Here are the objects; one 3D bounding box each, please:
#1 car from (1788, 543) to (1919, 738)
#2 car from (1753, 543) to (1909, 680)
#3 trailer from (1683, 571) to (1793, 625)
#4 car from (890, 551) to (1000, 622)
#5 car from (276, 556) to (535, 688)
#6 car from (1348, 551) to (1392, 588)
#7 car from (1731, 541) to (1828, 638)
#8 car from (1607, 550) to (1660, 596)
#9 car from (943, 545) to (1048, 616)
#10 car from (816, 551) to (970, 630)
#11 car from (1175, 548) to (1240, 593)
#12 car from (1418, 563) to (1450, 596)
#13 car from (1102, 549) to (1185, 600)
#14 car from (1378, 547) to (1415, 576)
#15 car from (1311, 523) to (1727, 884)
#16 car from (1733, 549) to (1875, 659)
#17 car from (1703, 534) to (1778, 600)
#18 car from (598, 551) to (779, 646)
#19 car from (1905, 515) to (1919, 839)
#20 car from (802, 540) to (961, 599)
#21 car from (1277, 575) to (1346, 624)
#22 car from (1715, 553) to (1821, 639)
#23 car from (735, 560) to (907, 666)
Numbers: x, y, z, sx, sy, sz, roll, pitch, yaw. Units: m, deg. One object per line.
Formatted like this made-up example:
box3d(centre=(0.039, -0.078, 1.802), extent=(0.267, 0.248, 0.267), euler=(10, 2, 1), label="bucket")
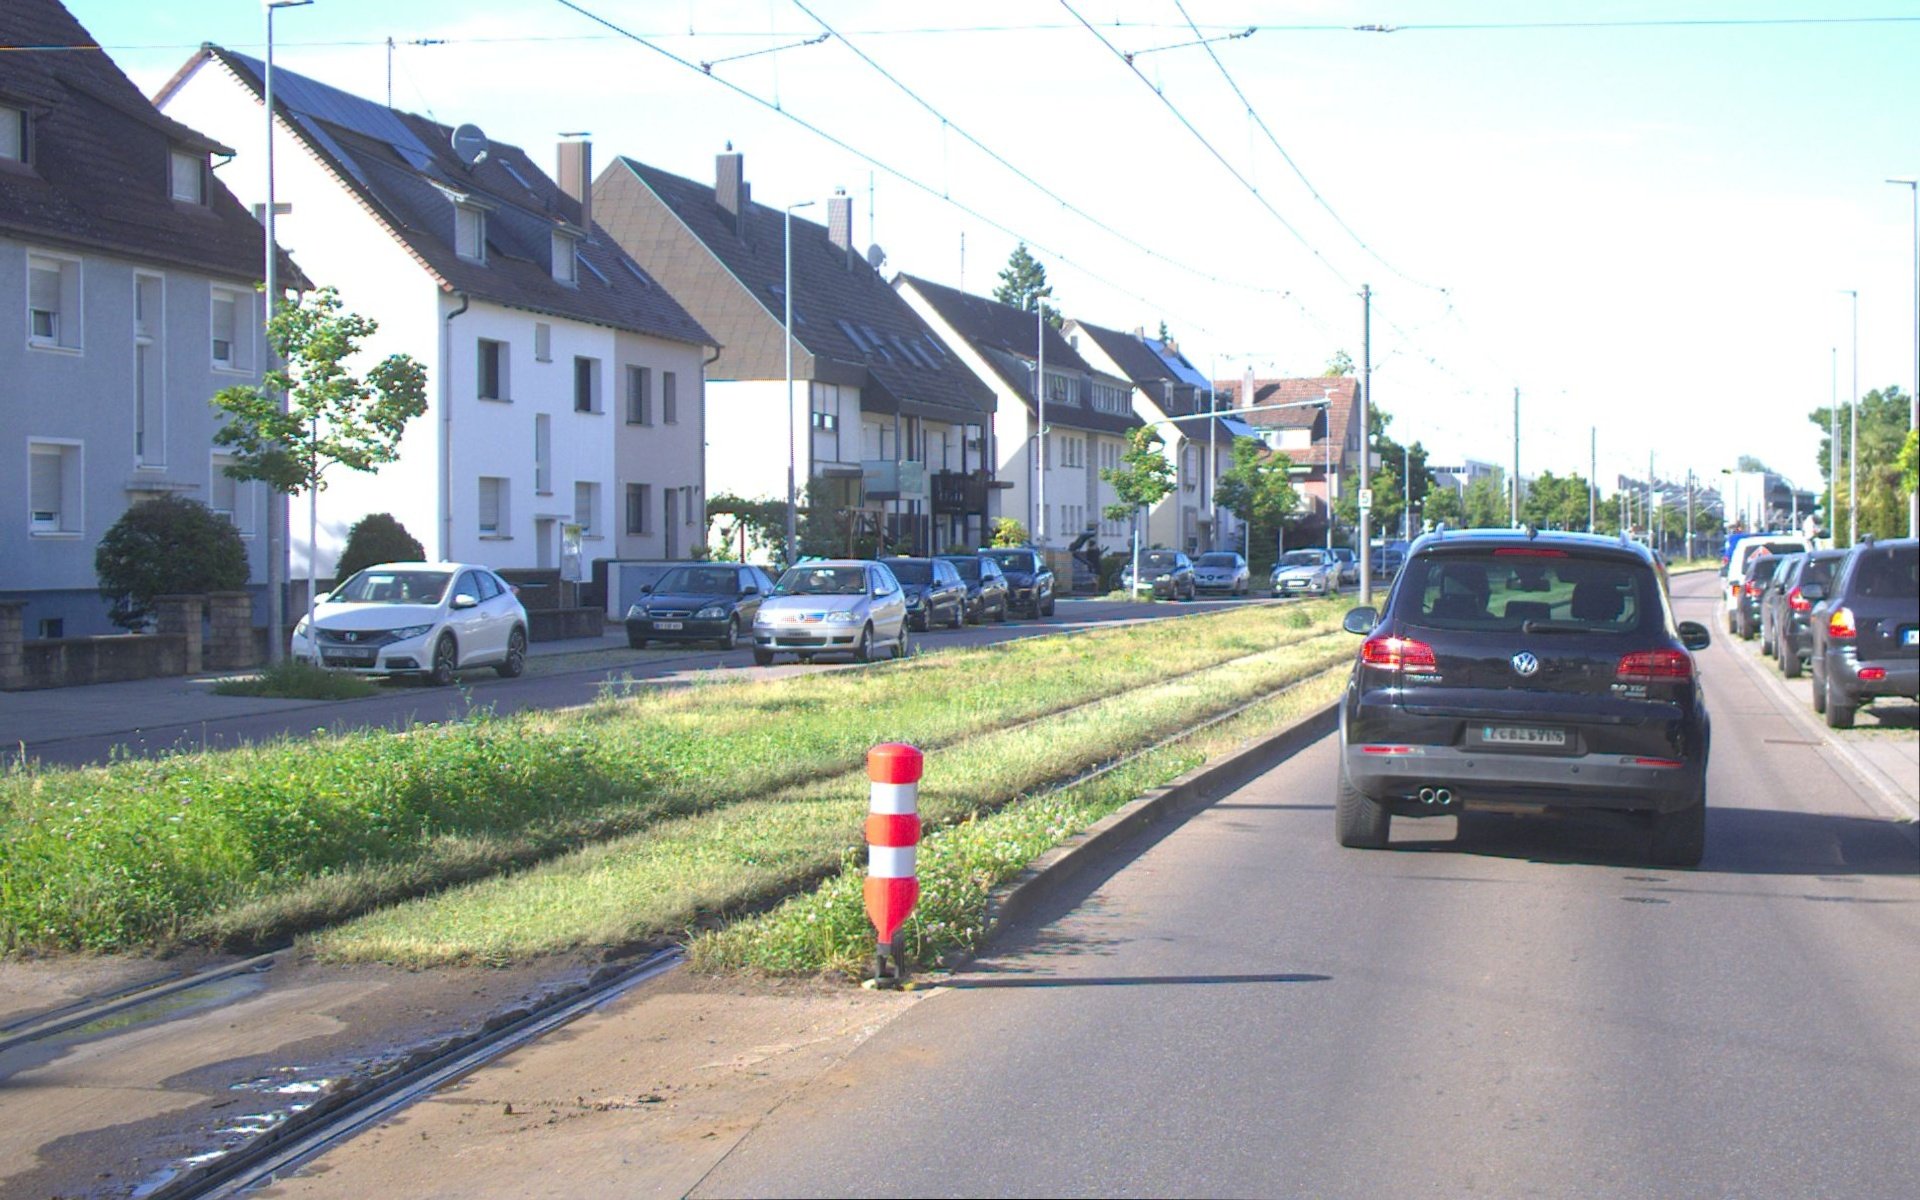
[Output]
box3d(centre=(8.612, 0.305, 31.337), extent=(1.855, 1.653, 4.471), euler=(0, 1, 11), label="car")
box3d(centre=(10.562, 0.107, 41.859), extent=(1.667, 1.542, 3.833), euler=(-2, 0, 12), label="car")
box3d(centre=(17.060, -0.055, 75.568), extent=(2.205, 1.090, 4.369), euler=(-1, 0, 11), label="trailer")
box3d(centre=(-0.291, -0.308, 74.722), extent=(1.521, 1.470, 4.198), euler=(0, 1, 12), label="car")
box3d(centre=(-6.681, 0.230, 41.835), extent=(1.693, 1.512, 4.212), euler=(0, 1, 12), label="car")
box3d(centre=(18.828, -1.396, 157.718), extent=(1.661, 1.576, 3.998), euler=(0, -1, 12), label="car")
box3d(centre=(15.586, -0.236, 65.496), extent=(1.690, 1.770, 4.653), euler=(0, 1, 12), label="car")
box3d(centre=(20.569, -0.835, 104.909), extent=(1.573, 1.386, 3.613), euler=(0, 1, 12), label="car")
box3d(centre=(0.856, -0.486, 80.118), extent=(1.803, 1.591, 4.810), euler=(0, 1, 9), label="car")
box3d(centre=(-1.309, -0.216, 69.591), extent=(1.878, 1.517, 4.877), euler=(1, 1, 14), label="car")
box3d(centre=(8.182, -0.948, 113.488), extent=(1.619, 1.404, 3.715), euler=(0, -1, 12), label="car")
box3d(centre=(24.782, -1.064, 179.726), extent=(1.466, 1.671, 3.285), euler=(0, 0, 12), label="car")
box3d(centre=(5.420, -0.757, 101.050), extent=(1.620, 1.448, 3.715), euler=(0, 1, 16), label="car")
box3d(centre=(20.673, -1.844, 162.825), extent=(1.516, 1.357, 3.588), euler=(0, 1, 11), label="car")
box3d(centre=(2.889, 0.472, 18.592), extent=(1.812, 1.665, 4.257), euler=(2, 1, 4), label="car")
box3d(centre=(11.776, 0.029, 48.182), extent=(1.616, 1.470, 4.448), euler=(0, 0, 10), label="car")
box3d(centre=(22.214, -0.952, 97.988), extent=(1.994, 1.855, 4.915), euler=(0, 1, 12), label="car")
box3d(centre=(-4.315, -0.057, 55.320), extent=(1.791, 1.458, 4.164), euler=(0, 1, 12), label="car")
box3d(centre=(6.116, 0.457, 17.793), extent=(1.962, 1.830, 4.925), euler=(0, 1, 11), label="car")
box3d(centre=(-2.155, -0.847, 94.899), extent=(4.166, 1.611, 1.759), euler=(0, 1, 8), label="car")
box3d(centre=(10.981, -0.002, 107.313), extent=(1.709, 1.485, 4.022), euler=(0, -1, 12), label="car")
box3d(centre=(14.053, -0.082, 59.920), extent=(1.672, 1.448, 4.123), euler=(0, 0, 12), label="car")
box3d(centre=(-1.911, 0.157, 48.350), extent=(1.550, 1.407, 3.657), euler=(0, 1, 12), label="car")
